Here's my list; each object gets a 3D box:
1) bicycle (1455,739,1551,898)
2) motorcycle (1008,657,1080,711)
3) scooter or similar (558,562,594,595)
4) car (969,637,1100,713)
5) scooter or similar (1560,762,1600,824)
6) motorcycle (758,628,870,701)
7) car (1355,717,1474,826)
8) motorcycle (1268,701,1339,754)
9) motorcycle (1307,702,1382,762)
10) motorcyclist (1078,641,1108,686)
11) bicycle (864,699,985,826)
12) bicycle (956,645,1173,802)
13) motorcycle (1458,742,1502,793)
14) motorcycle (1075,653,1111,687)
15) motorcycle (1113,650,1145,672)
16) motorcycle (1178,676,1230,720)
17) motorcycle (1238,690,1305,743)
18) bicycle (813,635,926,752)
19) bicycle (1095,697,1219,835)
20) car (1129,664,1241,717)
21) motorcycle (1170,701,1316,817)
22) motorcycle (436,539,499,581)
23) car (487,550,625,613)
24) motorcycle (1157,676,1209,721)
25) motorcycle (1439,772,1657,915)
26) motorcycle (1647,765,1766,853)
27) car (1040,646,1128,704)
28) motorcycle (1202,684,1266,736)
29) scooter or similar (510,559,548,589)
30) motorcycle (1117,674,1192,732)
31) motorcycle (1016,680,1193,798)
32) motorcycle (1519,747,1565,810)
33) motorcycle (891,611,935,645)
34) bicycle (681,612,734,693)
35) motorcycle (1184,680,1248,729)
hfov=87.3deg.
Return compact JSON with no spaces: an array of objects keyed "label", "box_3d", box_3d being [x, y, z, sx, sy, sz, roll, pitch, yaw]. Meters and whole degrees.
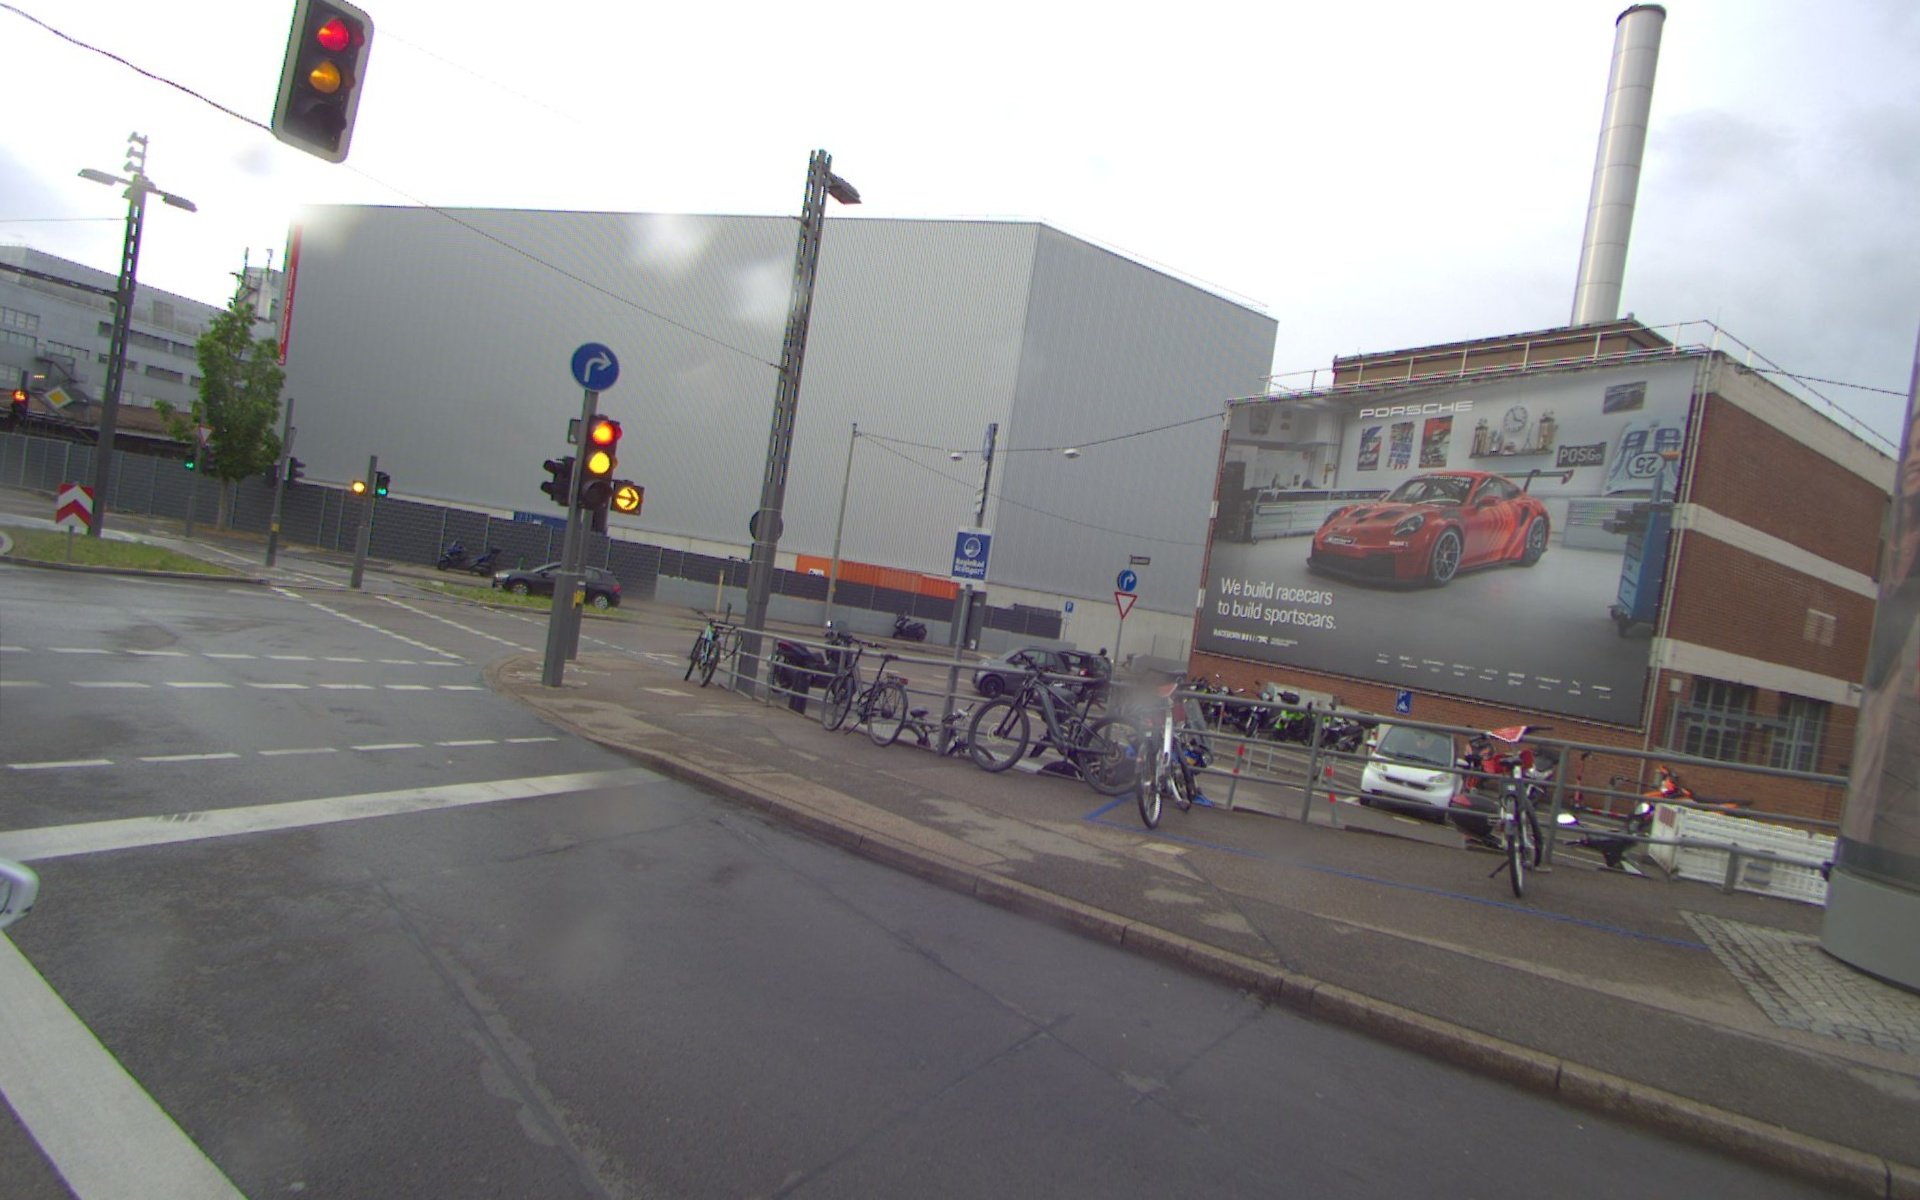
[{"label":"bicycle","box_3d":[4.046,1.554,7.447,0.414,0.933,1.613,8,0,32]},{"label":"motorcycle","box_3d":[2.140,2.143,25.577,1.702,1.159,0.492,8,-2,-24]},{"label":"scooter or similar","box_3d":[-16.366,-0.927,42.914,1.253,1.213,0.423,9,0,-18]},{"label":"car","box_3d":[1.979,2.016,27.386,3.190,1.521,1.624,9,0,-4]},{"label":"scooter or similar","box_3d":[12.898,3.988,20.918,0.496,1.109,1.635,6,-2,36]},{"label":"motorcycle","box_3d":[-2.634,1.203,18.379,0.481,1.158,2.086,6,-3,41]},{"label":"car","box_3d":[8.603,3.096,18.847,1.541,1.506,3.996,8,-1,29]},{"label":"motorcycle","box_3d":[8.542,3.164,24.984,1.789,1.132,0.474,8,-2,-28]},{"label":"motorcycle","box_3d":[9.326,3.200,24.387,1.788,1.253,0.540,8,1,-30]},{"label":"motorcyclist","box_3d":[5.219,2.497,39.436,0.659,1.642,1.033,8,1,28]},{"label":"bicycle","box_3d":[-0.429,1.759,11.137,0.344,1.097,1.728,7,-1,-35]},{"label":"bicycle","box_3d":[0.971,1.149,9.713,1.981,1.189,0.400,6,0,30]},{"label":"motorcycle","box_3d":[11.411,3.658,22.060,0.533,0.984,1.613,6,-2,36]},{"label":"motorcycle","box_3d":[5.230,2.765,39.508,0.443,1.207,2.263,8,0,30]},{"label":"motorcycle","box_3d":[10.658,3.867,63.494,0.622,1.088,1.906,8,0,-38]},{"label":"motorcycle","box_3d":[7.416,2.974,30.613,0.538,1.123,1.639,8,-2,-25]},{"label":"motorcycle","box_3d":[8.127,3.050,26.229,1.695,1.194,0.541,8,-2,-30]},{"label":"bicycle","box_3d":[-1.056,1.015,11.347,0.344,1.097,1.728,7,-1,-35]},{"label":"bicycle","box_3d":[1.681,1.321,8.389,0.414,0.973,1.744,6,-1,29]},{"label":"car","box_3d":[8.269,3.326,36.809,4.070,1.460,1.554,9,-3,-35]},{"label":"motorcycle","box_3d":[2.745,1.518,9.778,1.241,0.901,0.434,6,0,23]},{"label":"motorcycle","box_3d":[-19.819,-1.592,40.502,2.082,1.326,0.649,10,0,-33]},{"label":"car","box_3d":[-13.483,-0.604,33.620,3.958,1.442,1.707,9,-1,-30]},{"label":"motorcycle","box_3d":[6.602,2.908,29.833,0.538,1.133,1.593,8,-2,-25]},{"label":"motorcycle","box_3d":[5.072,2.088,8.757,1.512,0.901,0.403,6,0,19]},{"label":"motorcycle","box_3d":[14.268,3.981,19.277,1.639,1.349,0.524,6,-1,21]},{"label":"car","box_3d":[4.129,2.496,33.274,1.530,1.510,2.745,11,0,37]},{"label":"motorcycle","box_3d":[7.349,2.955,26.975,1.631,1.194,0.541,8,-2,-30]},{"label":"scooter or similar","box_3d":[-17.838,-1.072,41.661,1.247,1.041,0.385,9,0,0]},{"label":"motorcycle","box_3d":[4.616,2.444,23.988,0.539,1.123,1.850,8,-2,-32]},{"label":"motorcycle","box_3d":[1.440,1.380,10.268,1.722,0.906,0.545,6,-1,44]},{"label":"motorcycle","box_3d":[12.355,3.761,21.328,0.576,1.165,1.717,6,-2,36]},{"label":"motorcycle","box_3d":[-2.422,1.452,52.043,2.082,1.393,0.649,10,0,-33]},{"label":"bicycle","box_3d":[-4.091,0.807,16.226,0.416,1.143,2.064,7,-2,-22]},{"label":"motorcycle","box_3d":[7.238,2.948,28.392,1.631,1.194,0.670,8,-2,-30]}]
